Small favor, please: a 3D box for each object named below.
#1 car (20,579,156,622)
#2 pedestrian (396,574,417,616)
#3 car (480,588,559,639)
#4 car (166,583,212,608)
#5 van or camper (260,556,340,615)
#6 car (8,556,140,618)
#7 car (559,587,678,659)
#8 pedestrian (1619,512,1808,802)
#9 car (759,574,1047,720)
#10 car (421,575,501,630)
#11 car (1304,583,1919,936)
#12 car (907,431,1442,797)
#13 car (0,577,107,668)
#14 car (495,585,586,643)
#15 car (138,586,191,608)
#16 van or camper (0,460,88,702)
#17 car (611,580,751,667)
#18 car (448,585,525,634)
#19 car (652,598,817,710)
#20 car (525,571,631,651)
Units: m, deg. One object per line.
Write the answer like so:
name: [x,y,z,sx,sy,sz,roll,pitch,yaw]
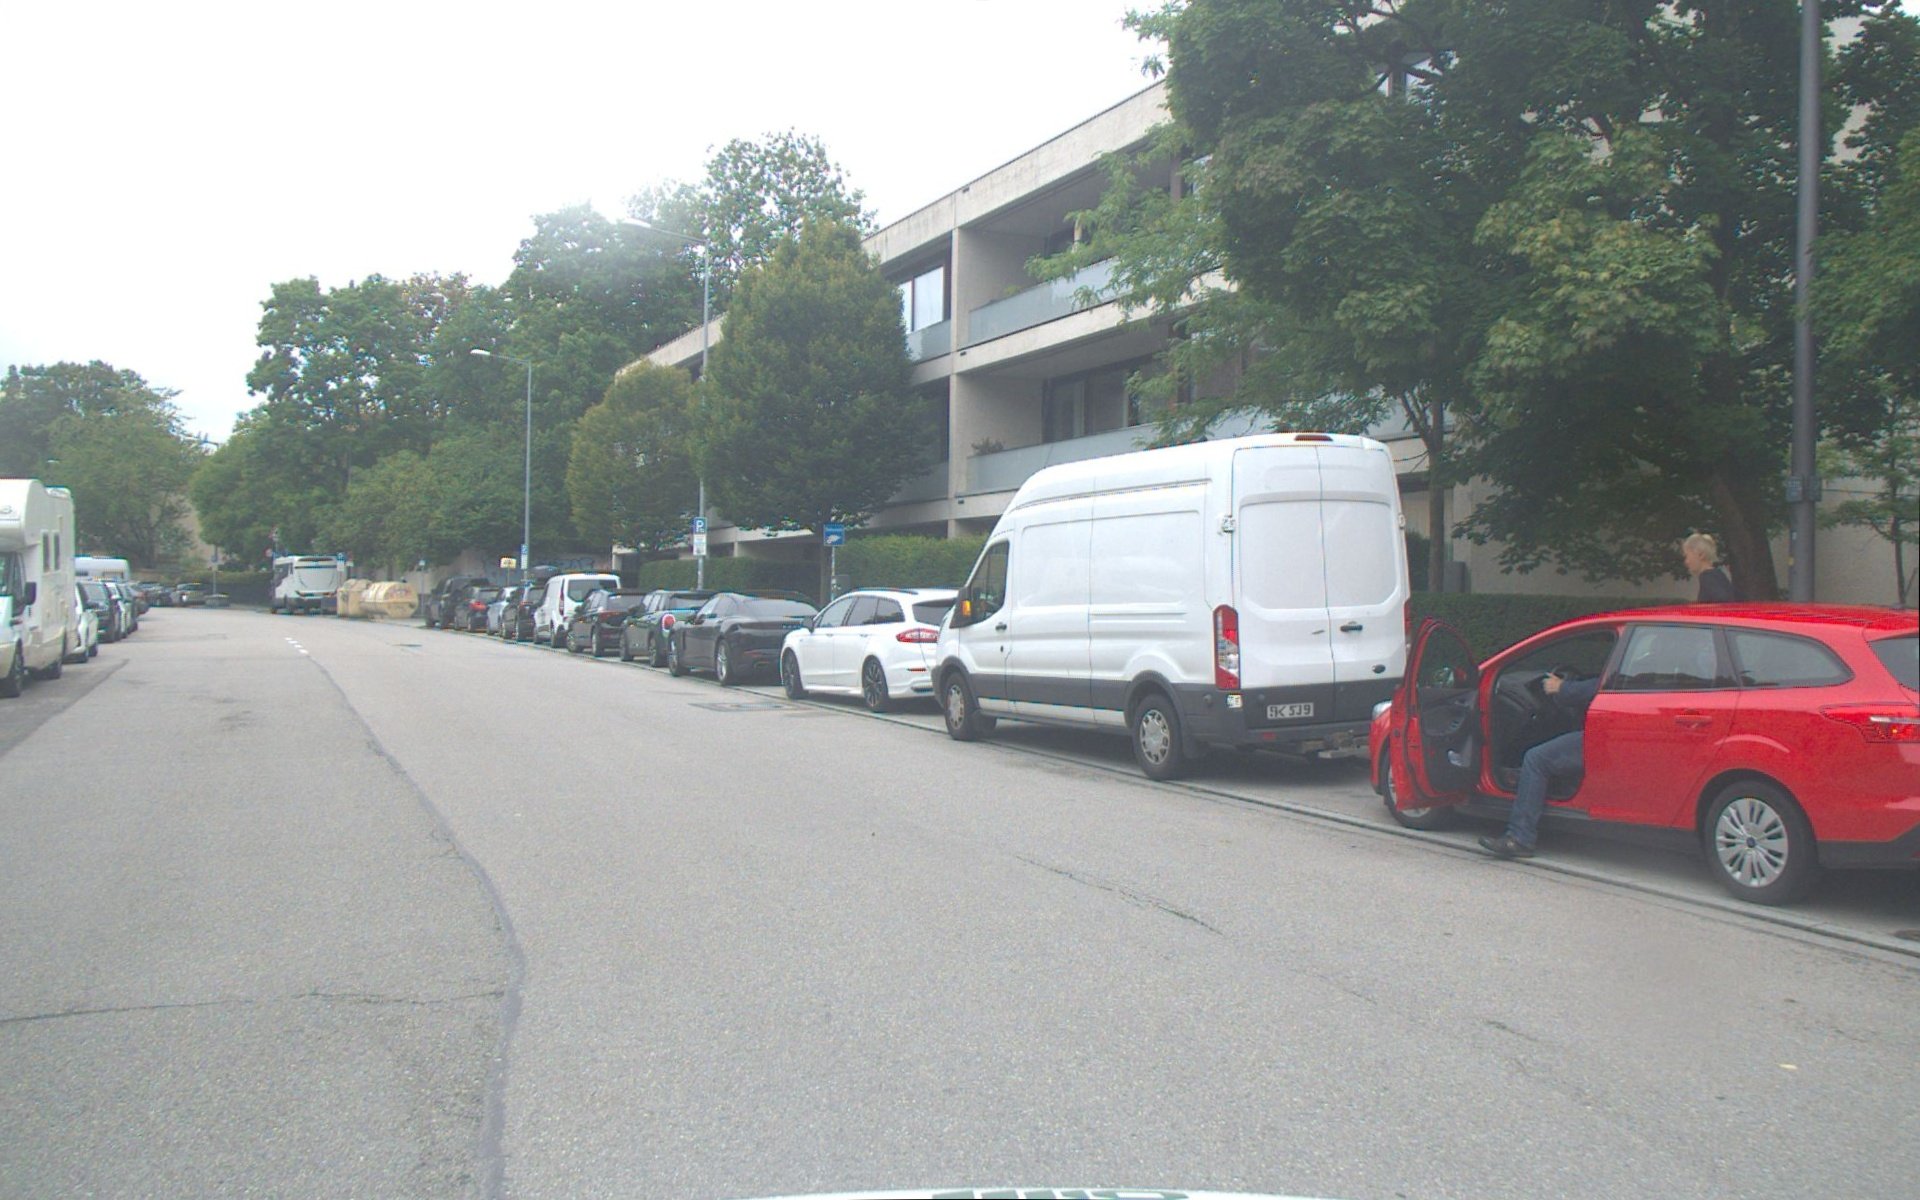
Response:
car: [-32.851,0.039,62.349,4.301,1.556,1.907,1,-1,-39]
pedestrian: [-27.100,-0.232,80.935,0.790,2.020,0.622,1,-1,-37]
car: [-13.731,0.409,51.471,1.725,1.506,3.857,1,0,-25]
car: [-50.654,-0.288,108.664,2.894,1.563,1.734,-1,0,43]
van or camper: [-35.082,-0.770,87.829,2.254,2.957,7.184,1,0,-36]
car: [-38.337,-0.569,71.671,2.186,2.608,4.626,1,1,31]
car: [-7.724,0.472,37.141,1.725,1.489,4.210,0,0,-24]
pedestrian: [5.263,0.390,11.581,0.783,1.937,0.860,2,0,-18]
car: [-0.895,0.502,21.716,1.849,1.596,4.957,-2,2,-27]
car: [-18.550,0.114,61.364,1.964,1.904,5.033,2,-1,-27]
car: [4.302,0.712,9.979,1.848,1.533,4.798,-2,2,-26]
car: [1.653,0.026,15.555,2.054,2.733,6.038,-1,2,-26]
car: [-17.065,0.368,30.867,1.755,1.561,4.196,-2,1,-24]
car: [-12.034,0.382,47.209,1.725,1.506,4.563,2,0,-24]
car: [-53.578,-0.206,111.387,4.148,1.452,1.871,1,1,43]
van or camper: [-14.087,-0.257,23.394,2.422,2.992,7.161,-1,1,-23]
car: [-5.521,0.406,32.321,1.705,1.555,4.172,-1,1,-24]
car: [-16.237,0.307,56.566,1.727,1.566,4.530,1,0,-27]
car: [-3.809,0.801,27.155,1.264,1.532,5.167,-1,2,-24]
car: [-9.884,0.247,42.569,1.798,1.893,4.863,2,0,-23]
